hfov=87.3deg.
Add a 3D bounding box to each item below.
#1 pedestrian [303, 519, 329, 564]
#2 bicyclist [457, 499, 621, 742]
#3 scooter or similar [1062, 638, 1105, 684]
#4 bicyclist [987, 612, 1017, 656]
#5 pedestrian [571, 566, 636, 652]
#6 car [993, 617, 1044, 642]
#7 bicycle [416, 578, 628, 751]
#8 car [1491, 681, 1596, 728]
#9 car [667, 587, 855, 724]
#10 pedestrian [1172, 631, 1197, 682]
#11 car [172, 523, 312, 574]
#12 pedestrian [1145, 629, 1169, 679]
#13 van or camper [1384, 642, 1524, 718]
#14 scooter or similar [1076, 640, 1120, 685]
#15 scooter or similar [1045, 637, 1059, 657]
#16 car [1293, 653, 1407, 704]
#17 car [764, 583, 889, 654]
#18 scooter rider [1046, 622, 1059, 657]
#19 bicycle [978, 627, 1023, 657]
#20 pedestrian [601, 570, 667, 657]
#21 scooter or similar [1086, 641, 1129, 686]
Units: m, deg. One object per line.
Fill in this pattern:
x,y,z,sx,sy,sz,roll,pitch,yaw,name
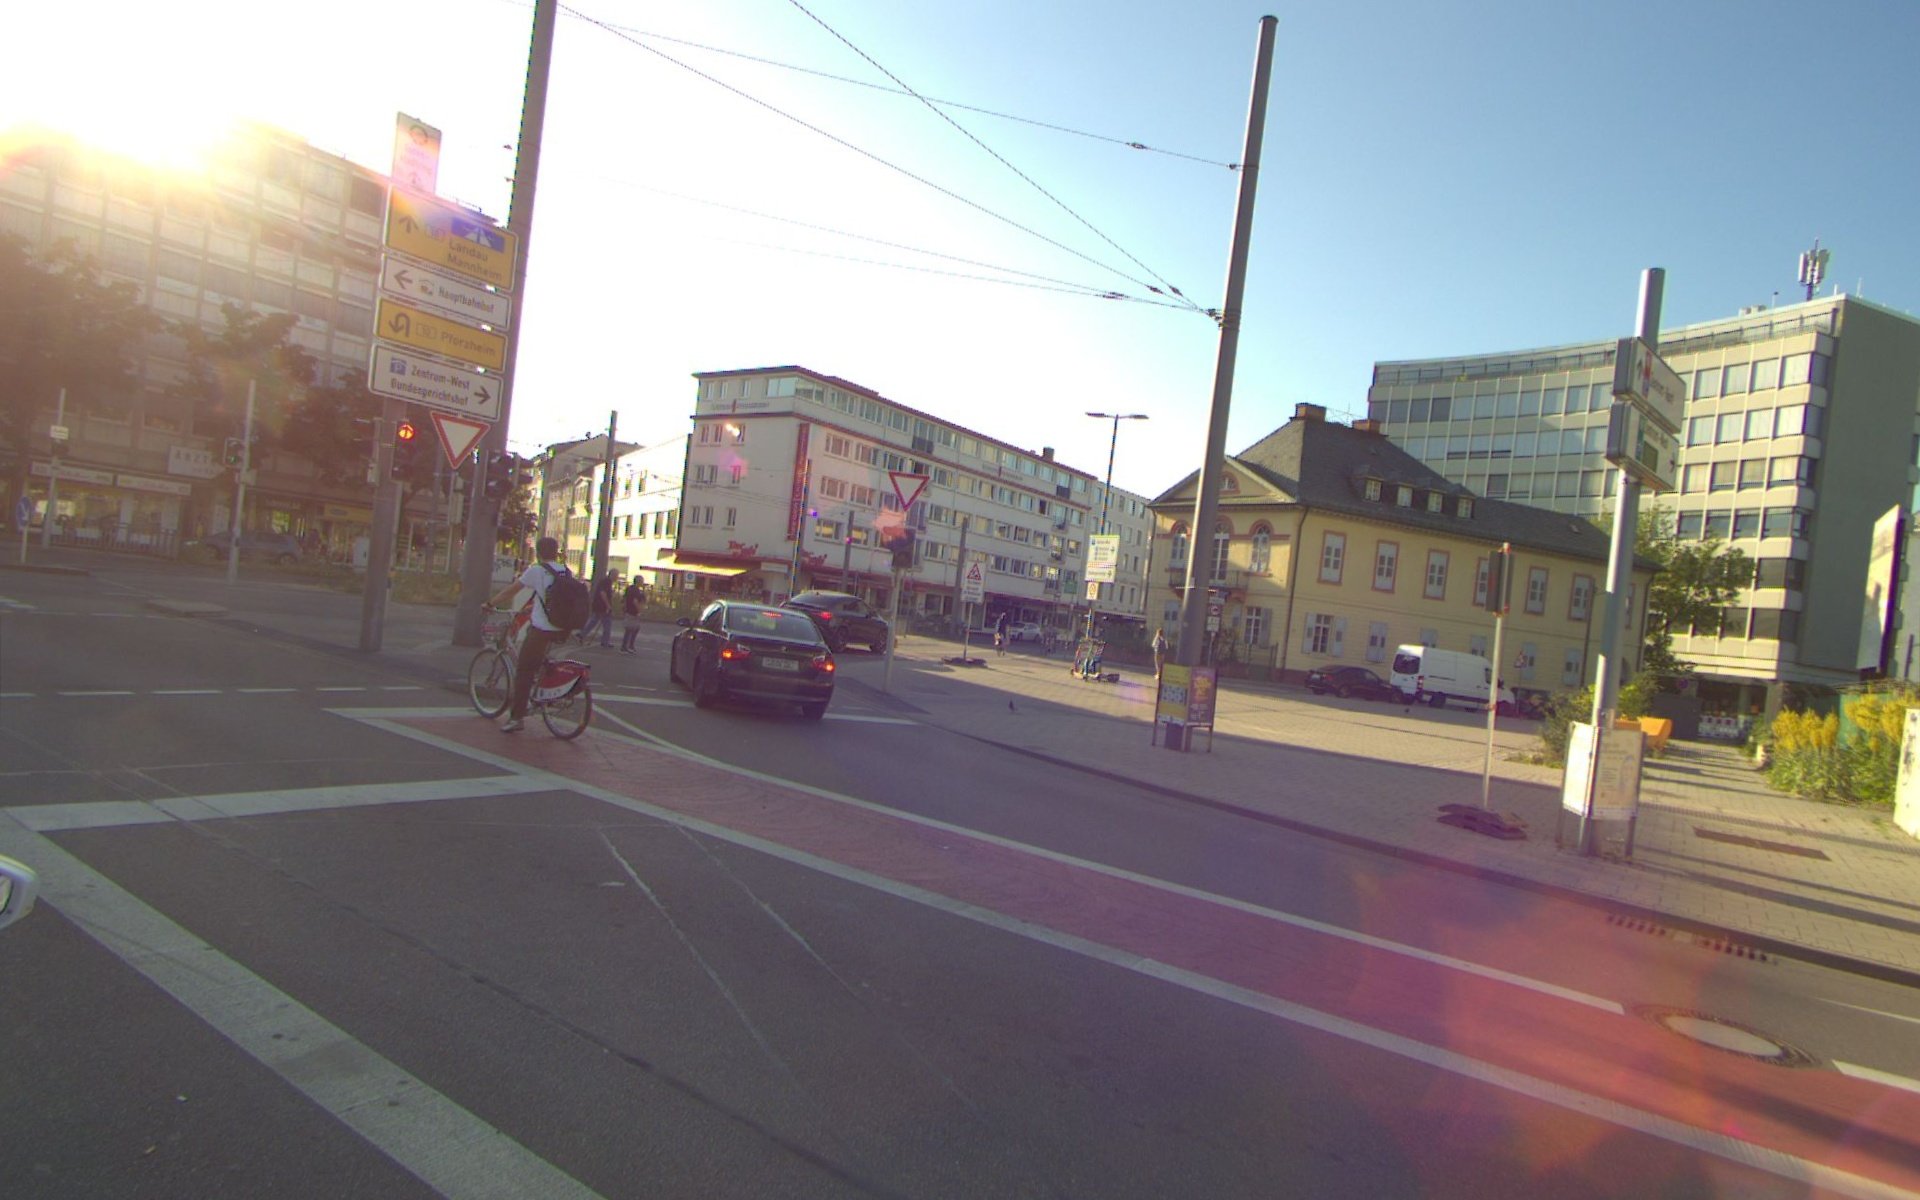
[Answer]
-31.083,-2.820,48.538,0.549,2.038,0.707,7,1,35,pedestrian
-3.846,0.182,9.182,1.049,2.037,0.644,9,0,33,bicyclist
3.852,1.886,31.427,0.563,1.274,1.334,6,0,-28,scooter or similar
1.744,1.418,41.724,0.680,1.682,0.959,7,0,35,bicyclist
-7.159,0.192,20.217,0.644,1.617,0.879,7,1,30,pedestrian
4.877,2.463,82.974,1.971,1.597,4.307,7,-1,39,car
-4.073,0.565,9.282,2.014,1.237,0.645,9,0,33,bicycle
27.109,4.843,46.793,3.941,1.593,1.992,7,0,-18,car
-2.932,0.680,14.127,1.726,1.443,3.980,7,-1,-22,car
8.533,2.147,38.247,0.587,1.847,0.728,7,0,23,pedestrian
-28.294,-2.009,39.757,1.969,1.437,3.989,7,-1,35,car
7.583,2.076,38.681,0.587,1.847,0.728,7,0,23,pedestrian
21.895,3.534,44.629,5.524,2.668,1.992,7,0,-18,van or camper
4.348,1.963,31.744,0.563,1.274,1.334,6,0,-28,scooter or similar
5.287,2.717,58.022,0.485,1.046,1.386,7,0,-3,scooter or similar
16.613,3.321,42.897,4.101,1.593,1.992,7,0,-18,car
-4.005,0.618,30.865,1.963,1.713,4.002,8,-1,21,car
5.333,2.252,58.022,0.492,1.943,0.533,7,1,-3,scooter rider
1.688,1.746,41.716,0.671,1.039,2.227,7,-1,35,bicycle
-6.433,0.274,19.880,0.644,1.617,0.879,7,1,30,pedestrian
4.718,2.028,32.338,0.563,1.274,1.334,6,0,-28,scooter or similar
